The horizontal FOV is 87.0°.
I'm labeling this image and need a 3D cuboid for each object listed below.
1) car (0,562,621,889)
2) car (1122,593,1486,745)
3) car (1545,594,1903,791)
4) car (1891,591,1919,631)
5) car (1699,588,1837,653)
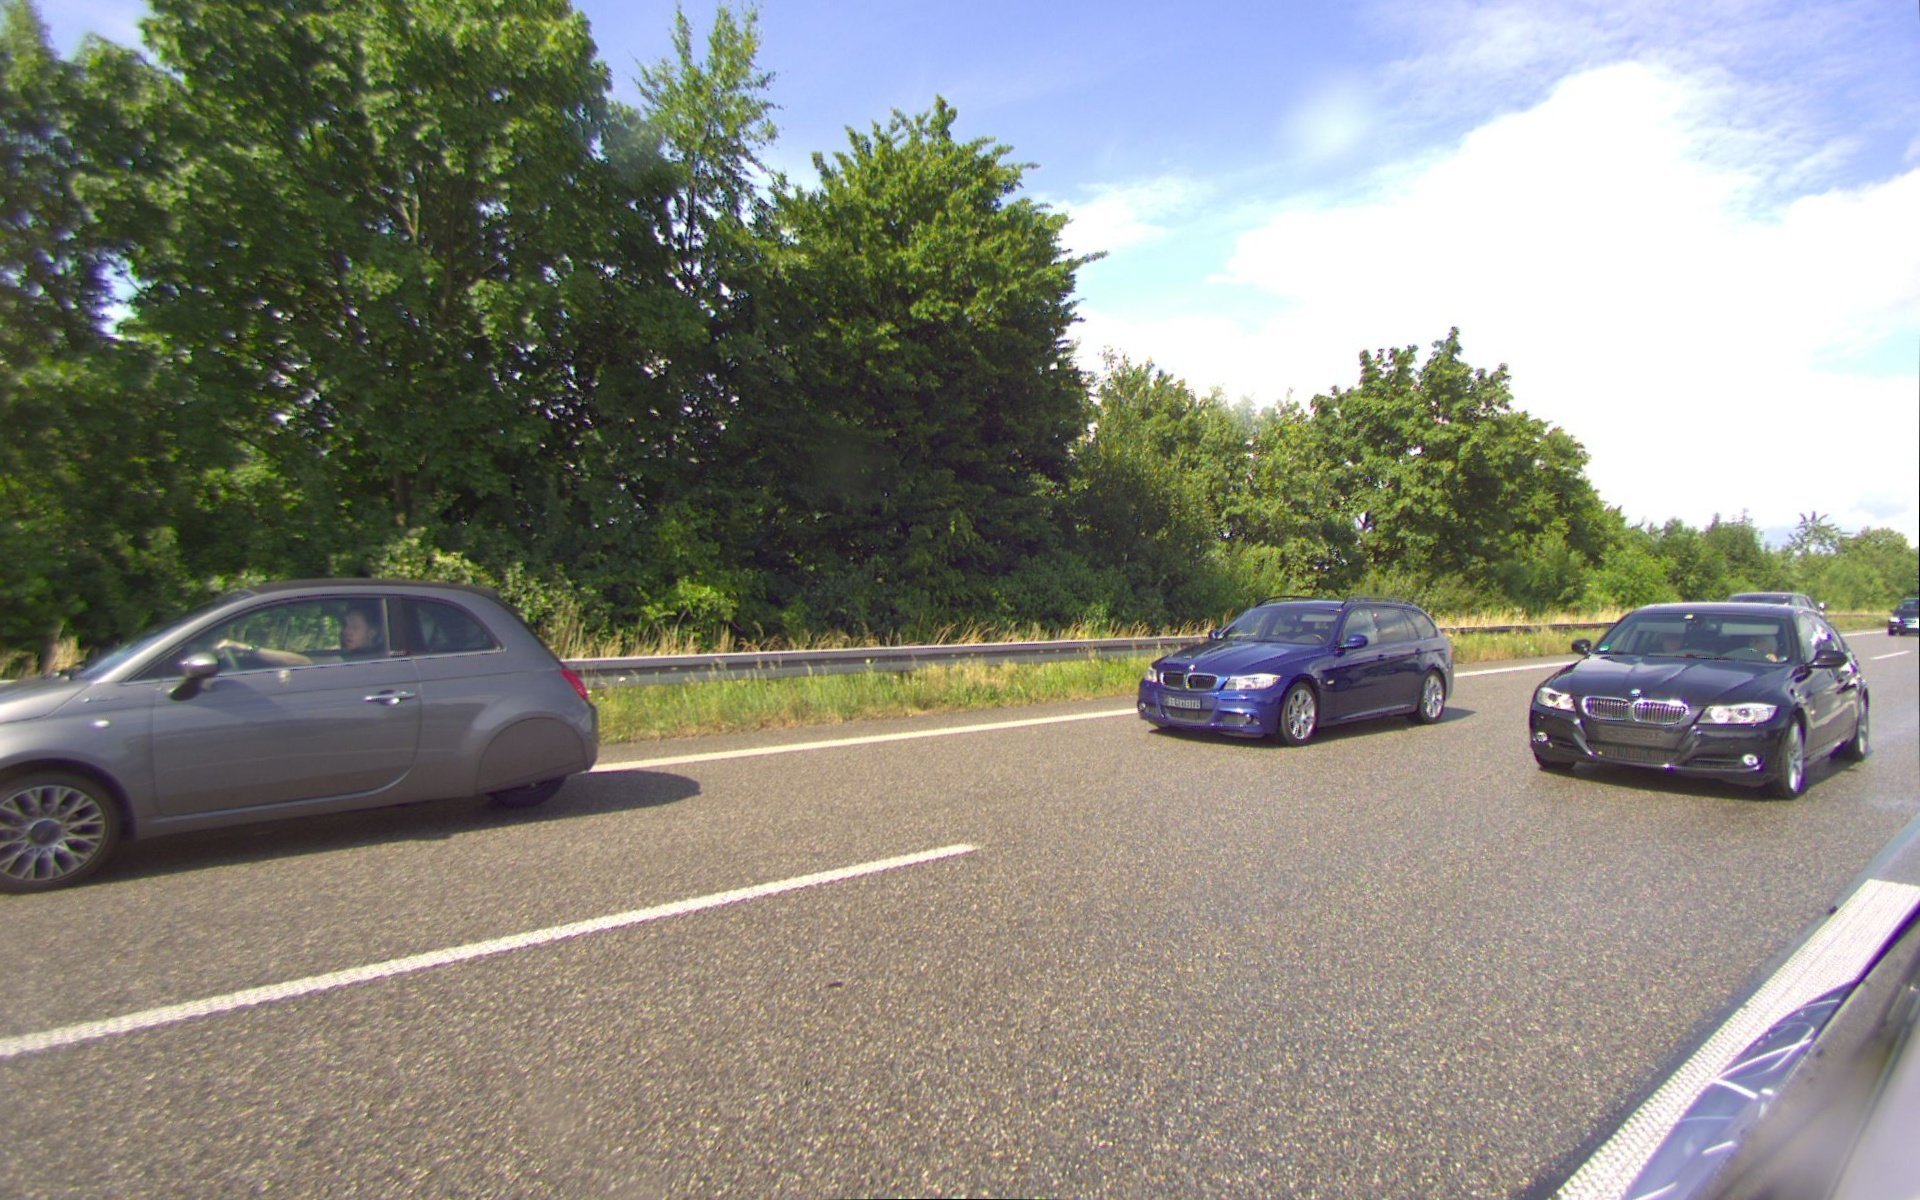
[{"bbox_3d":[-4.023,0.559,6.088,3.420,1.507,1.615,0,1,-41],"label":"car"},{"bbox_3d":[3.988,0.616,11.334,4.498,1.368,1.771,0,1,-39],"label":"car"},{"bbox_3d":[6.928,0.658,9.053,3.814,1.371,1.721,0,0,-39],"label":"car"},{"bbox_3d":[39.935,0.447,41.732,3.930,1.594,1.866,0,1,-41],"label":"car"},{"bbox_3d":[20.433,0.456,25.538,4.175,1.509,1.997,0,1,-41],"label":"car"}]
